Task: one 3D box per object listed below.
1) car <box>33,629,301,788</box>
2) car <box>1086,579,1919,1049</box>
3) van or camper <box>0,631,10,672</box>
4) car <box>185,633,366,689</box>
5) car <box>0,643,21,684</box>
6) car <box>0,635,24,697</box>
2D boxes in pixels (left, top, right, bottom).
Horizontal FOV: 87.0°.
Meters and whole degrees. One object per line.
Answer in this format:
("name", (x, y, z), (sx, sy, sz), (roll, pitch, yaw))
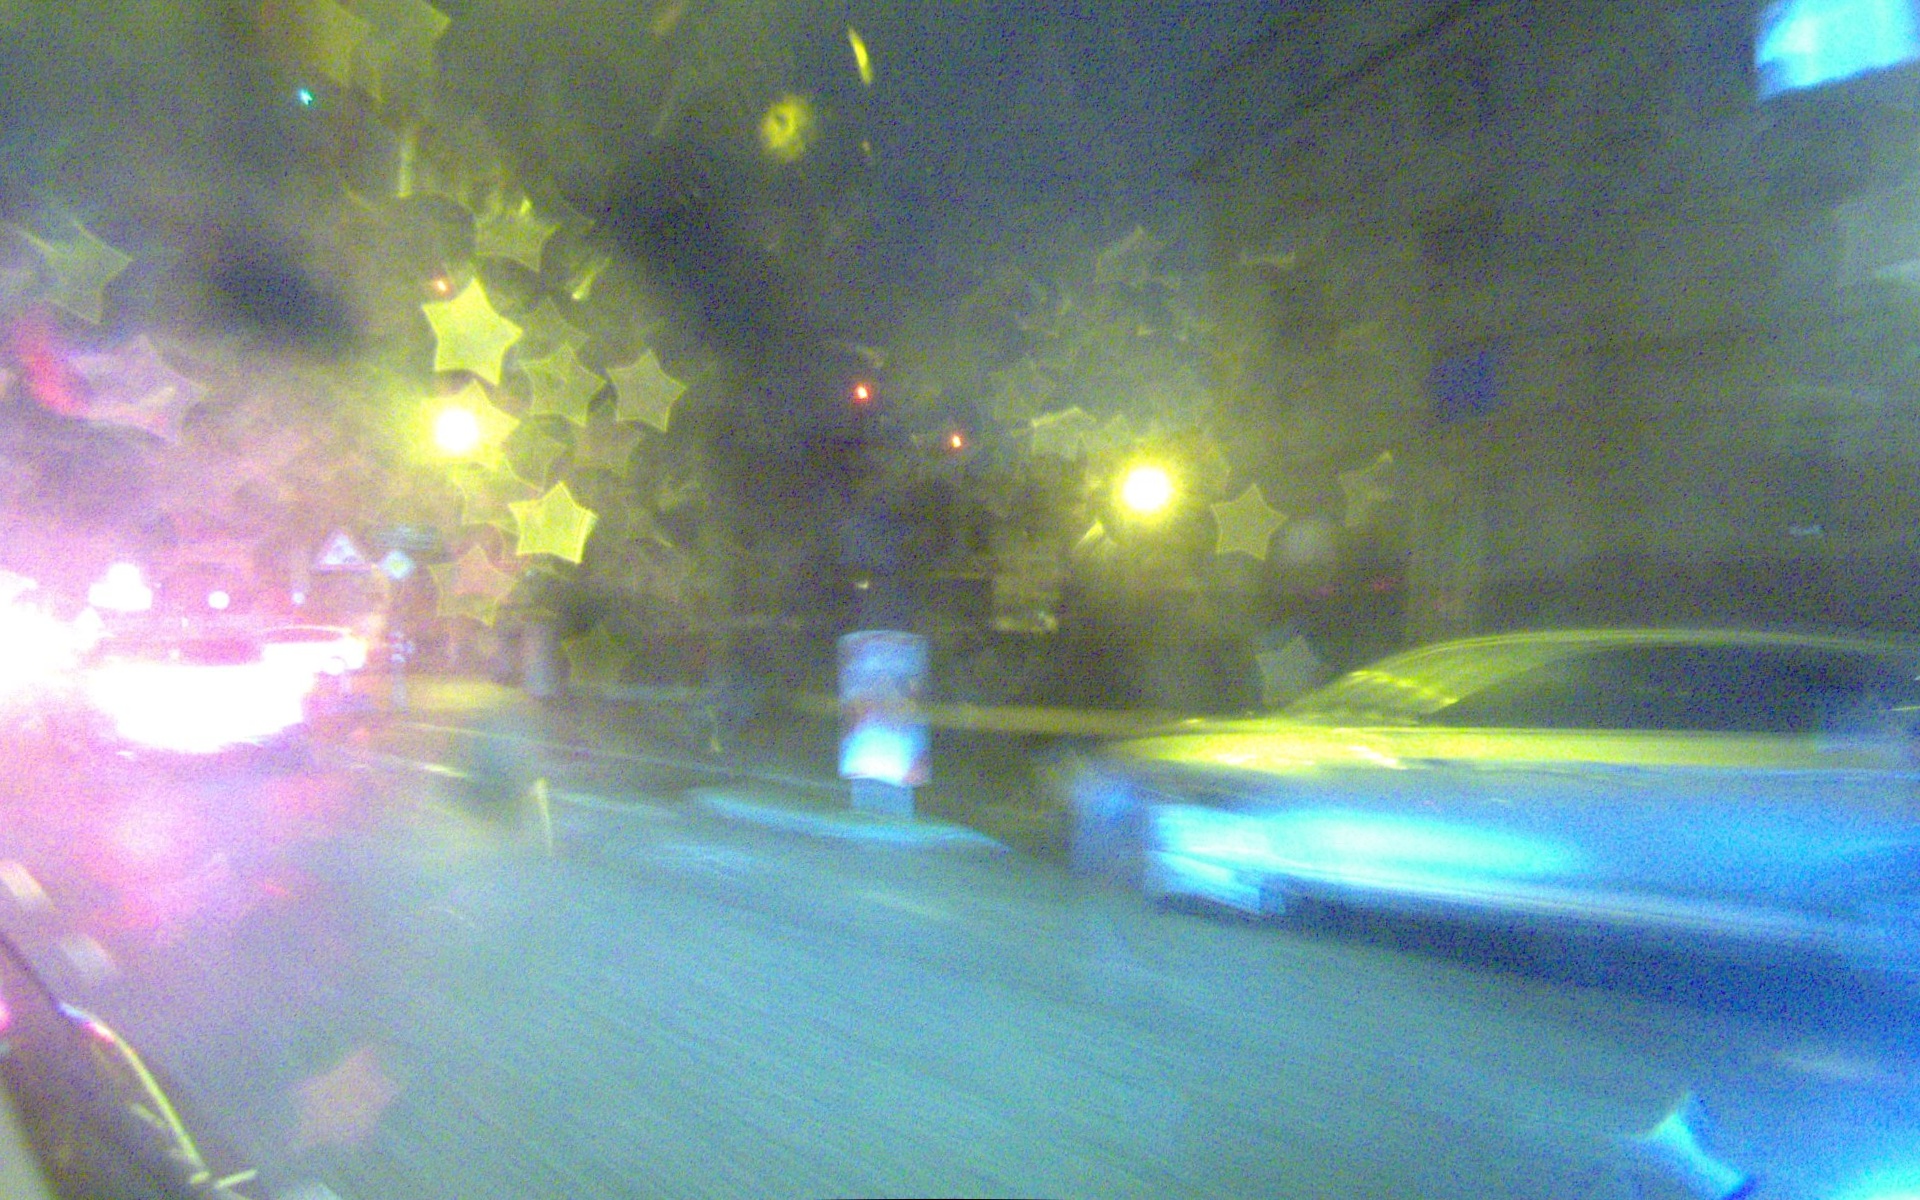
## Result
("car", (-9.048, 1.104, 11.397), (4.511, 1.445, 1.657), (-3, -4, 43))
("car", (2.915, 0.738, 4.291), (4.640, 1.468, 1.562), (-2, -5, 40))
("van or camper", (-51.347, 2.690, 53.171), (4.944, 2.119, 1.849), (-2, -3, 45))
("car", (-21.765, 1.901, 32.330), (4.627, 1.631, 2.005), (1, -3, -35))
("car", (-37.211, 2.412, 38.633), (4.580, 1.472, 1.776), (-2, -1, 45))
("car", (-24.970, 1.674, 25.681), (2.792, 1.510, 1.531), (-2, -1, 42))
